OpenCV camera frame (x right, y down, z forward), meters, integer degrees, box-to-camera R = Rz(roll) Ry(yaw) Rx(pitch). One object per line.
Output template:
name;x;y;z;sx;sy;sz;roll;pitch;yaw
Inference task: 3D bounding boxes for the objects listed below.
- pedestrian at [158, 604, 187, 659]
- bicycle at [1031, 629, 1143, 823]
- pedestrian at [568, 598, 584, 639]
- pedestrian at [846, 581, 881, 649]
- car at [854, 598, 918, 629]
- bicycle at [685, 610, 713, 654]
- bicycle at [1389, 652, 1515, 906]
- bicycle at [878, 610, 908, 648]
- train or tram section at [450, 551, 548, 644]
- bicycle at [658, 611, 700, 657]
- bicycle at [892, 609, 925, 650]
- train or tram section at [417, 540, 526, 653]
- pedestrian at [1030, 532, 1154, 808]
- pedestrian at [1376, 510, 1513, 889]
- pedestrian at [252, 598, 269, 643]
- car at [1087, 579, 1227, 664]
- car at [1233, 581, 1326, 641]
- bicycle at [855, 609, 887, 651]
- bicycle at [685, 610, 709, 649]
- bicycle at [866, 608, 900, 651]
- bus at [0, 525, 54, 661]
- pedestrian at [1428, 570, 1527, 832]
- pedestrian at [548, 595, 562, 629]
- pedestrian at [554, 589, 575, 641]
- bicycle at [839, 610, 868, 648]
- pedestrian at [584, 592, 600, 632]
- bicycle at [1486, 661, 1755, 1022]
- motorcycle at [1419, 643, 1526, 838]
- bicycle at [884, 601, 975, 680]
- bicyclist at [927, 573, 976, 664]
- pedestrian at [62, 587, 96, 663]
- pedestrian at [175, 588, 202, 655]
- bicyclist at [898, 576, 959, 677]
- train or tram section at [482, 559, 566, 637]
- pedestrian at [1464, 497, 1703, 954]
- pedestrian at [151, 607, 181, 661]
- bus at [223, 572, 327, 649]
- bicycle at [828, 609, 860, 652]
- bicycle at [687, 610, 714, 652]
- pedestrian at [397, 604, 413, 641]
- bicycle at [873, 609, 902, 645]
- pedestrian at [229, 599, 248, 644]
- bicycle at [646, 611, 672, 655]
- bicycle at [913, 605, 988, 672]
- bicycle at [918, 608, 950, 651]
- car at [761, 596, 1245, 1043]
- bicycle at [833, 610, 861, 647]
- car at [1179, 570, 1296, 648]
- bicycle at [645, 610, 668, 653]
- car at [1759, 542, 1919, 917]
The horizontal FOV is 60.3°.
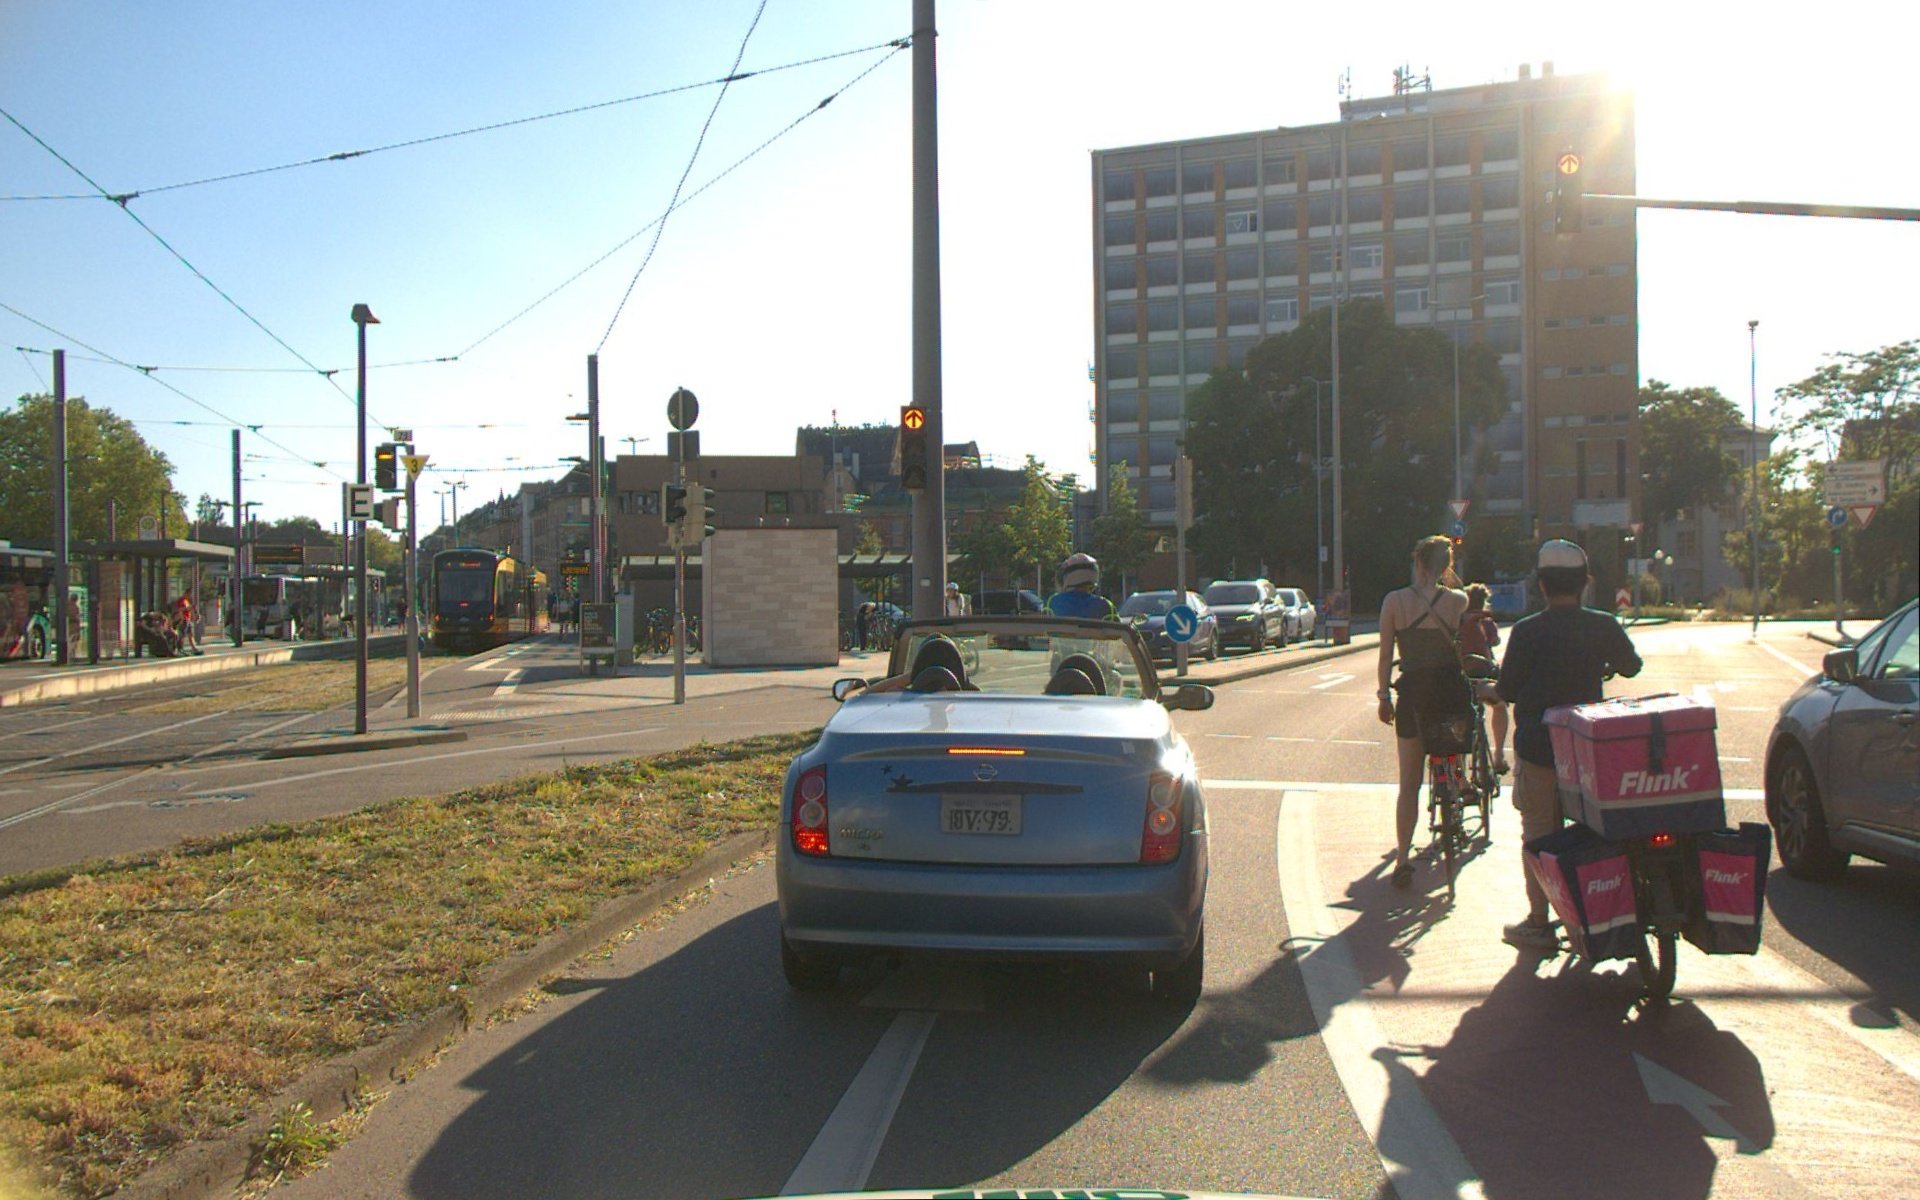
pedestrian;-20.252;0.804;42.548;0.561;1.369;0.637;-1;0;-17
bicycle;0.953;0.830;11.898;0.595;1.212;2.416;1;0;9
pedestrian;-17.101;0.822;73.650;0.628;1.779;0.732;-1;0;-19
pedestrian;-2.726;0.413;46.706;0.885;1.901;0.685;1;-1;-13
car;-3.984;0.741;88.611;1.629;1.588;3.549;-1;0;-39
bicycle;-6.989;0.845;44.276;0.596;1.134;1.890;1;0;-13
bicycle;2.638;0.895;8.998;0.552;1.171;1.951;1;0;14
bicycle;-2.088;0.886;51.221;0.596;1.134;1.890;1;0;-13
train or tram section;-19.980;-0.082;72.362;2.957;3.659;12.169;1;0;-10
bicycle;-7.184;0.857;42.337;0.594;1.134;1.898;1;0;5
bicycle;-1.495;0.831;47.543;0.596;1.134;1.890;1;0;-13
train or tram section;-17.646;-0.104;60.408;2.831;3.659;12.161;1;0;-12
pedestrian;0.969;0.486;11.967;0.815;1.901;0.921;1;-1;8
pedestrian;2.559;0.500;8.810;0.645;1.901;0.873;1;-1;14
pedestrian;-27.882;0.818;65.905;0.562;1.779;0.636;-1;0;-20
car;4.072;0.425;33.684;1.702;1.601;3.921;1;0;25
car;9.012;0.281;46.457;1.661;1.588;3.977;-1;0;25
bicycle;-2.559;0.844;47.139;0.596;1.134;1.890;1;0;-13
bicycle;-7.979;0.894;50.198;0.596;1.134;1.890;1;0;-13
bicycle;-2.110;0.783;45.214;0.596;1.134;1.890;1;0;-13
bus;-23.561;-0.177;37.170;2.606;3.190;9.619;1;0;-10
pedestrian;3.381;0.631;10.850;0.575;1.626;1.025;1;-1;16
pedestrian;-21.946;0.653;89.610;0.593;1.779;0.830;-1;0;-8
pedestrian;-13.654;0.514;57.143;0.628;1.779;0.569;-1;0;-19
bicycle;-3.293;0.883;51.000;0.596;1.134;1.890;1;0;-13
pedestrian;-16.528;0.531;74.284;0.628;1.779;0.732;-1;0;-19
bicycle;2.728;0.900;7.074;0.542;1.192;2.374;1;0;9
motorcycle;3.419;0.873;11.113;0.600;1.117;2.361;1;0;16
bicycle;-0.504;0.676;28.829;0.660;1.272;2.457;-3;-1;21
bicyclist;-0.155;0.348;31.475;0.694;1.686;0.743;-1;0;21
pedestrian;-20.961;0.592;39.359;0.527;1.779;0.559;-1;0;-6
pedestrian;-20.706;0.583;44.406;0.561;1.779;0.637;-1;0;-17
bicyclist;-0.543;0.456;28.761;0.694;1.686;0.901;-3;-1;21
train or tram section;-22.045;-0.068;84.257;2.984;3.659;12.024;1;0;-10
pedestrian;2.763;0.523;7.426;0.789;1.901;0.957;1;-1;8
pedestrian;-20.094;0.858;41.868;0.606;1.364;0.438;-1;0;-18
bus;-32.734;0.469;79.554;2.675;3.331;13.413;1;0;-14
bicycle;-3.162;0.825;45.057;0.596;1.134;1.890;1;0;-13
bicycle;-7.279;0.862;46.335;0.596;1.134;1.890;1;0;-13
pedestrian;-26.889;1.109;80.178;0.630;1.779;0.567;-1;0;-27
bicycle;-2.337;0.867;53.189;0.596;1.134;1.890;1;0;-13
pedestrian;-28.975;0.876;66.410;0.630;1.779;0.567;-1;0;-27
bicycle;-7.992;0.860;43.930;0.596;1.134;1.890;1;0;-13
bicycle;-0.155;0.711;31.447;0.660;1.201;2.183;-1;0;21
bicycle;-0.730;0.808;45.538;0.595;1.134;1.892;1;0;-10
car;0.355;0.746;7.681;1.625;1.466;4.157;1;0;6
bicycle;-3.623;0.899;52.962;0.596;1.134;1.890;1;0;-13
car;6.753;0.195;39.819;1.726;1.736;4.529;-2;-1;23
bicycle;-8.424;0.862;45.848;0.596;1.134;1.891;1;0;-11
car;5.285;0.607;7.399;1.792;1.719;4.372;1;0;8
